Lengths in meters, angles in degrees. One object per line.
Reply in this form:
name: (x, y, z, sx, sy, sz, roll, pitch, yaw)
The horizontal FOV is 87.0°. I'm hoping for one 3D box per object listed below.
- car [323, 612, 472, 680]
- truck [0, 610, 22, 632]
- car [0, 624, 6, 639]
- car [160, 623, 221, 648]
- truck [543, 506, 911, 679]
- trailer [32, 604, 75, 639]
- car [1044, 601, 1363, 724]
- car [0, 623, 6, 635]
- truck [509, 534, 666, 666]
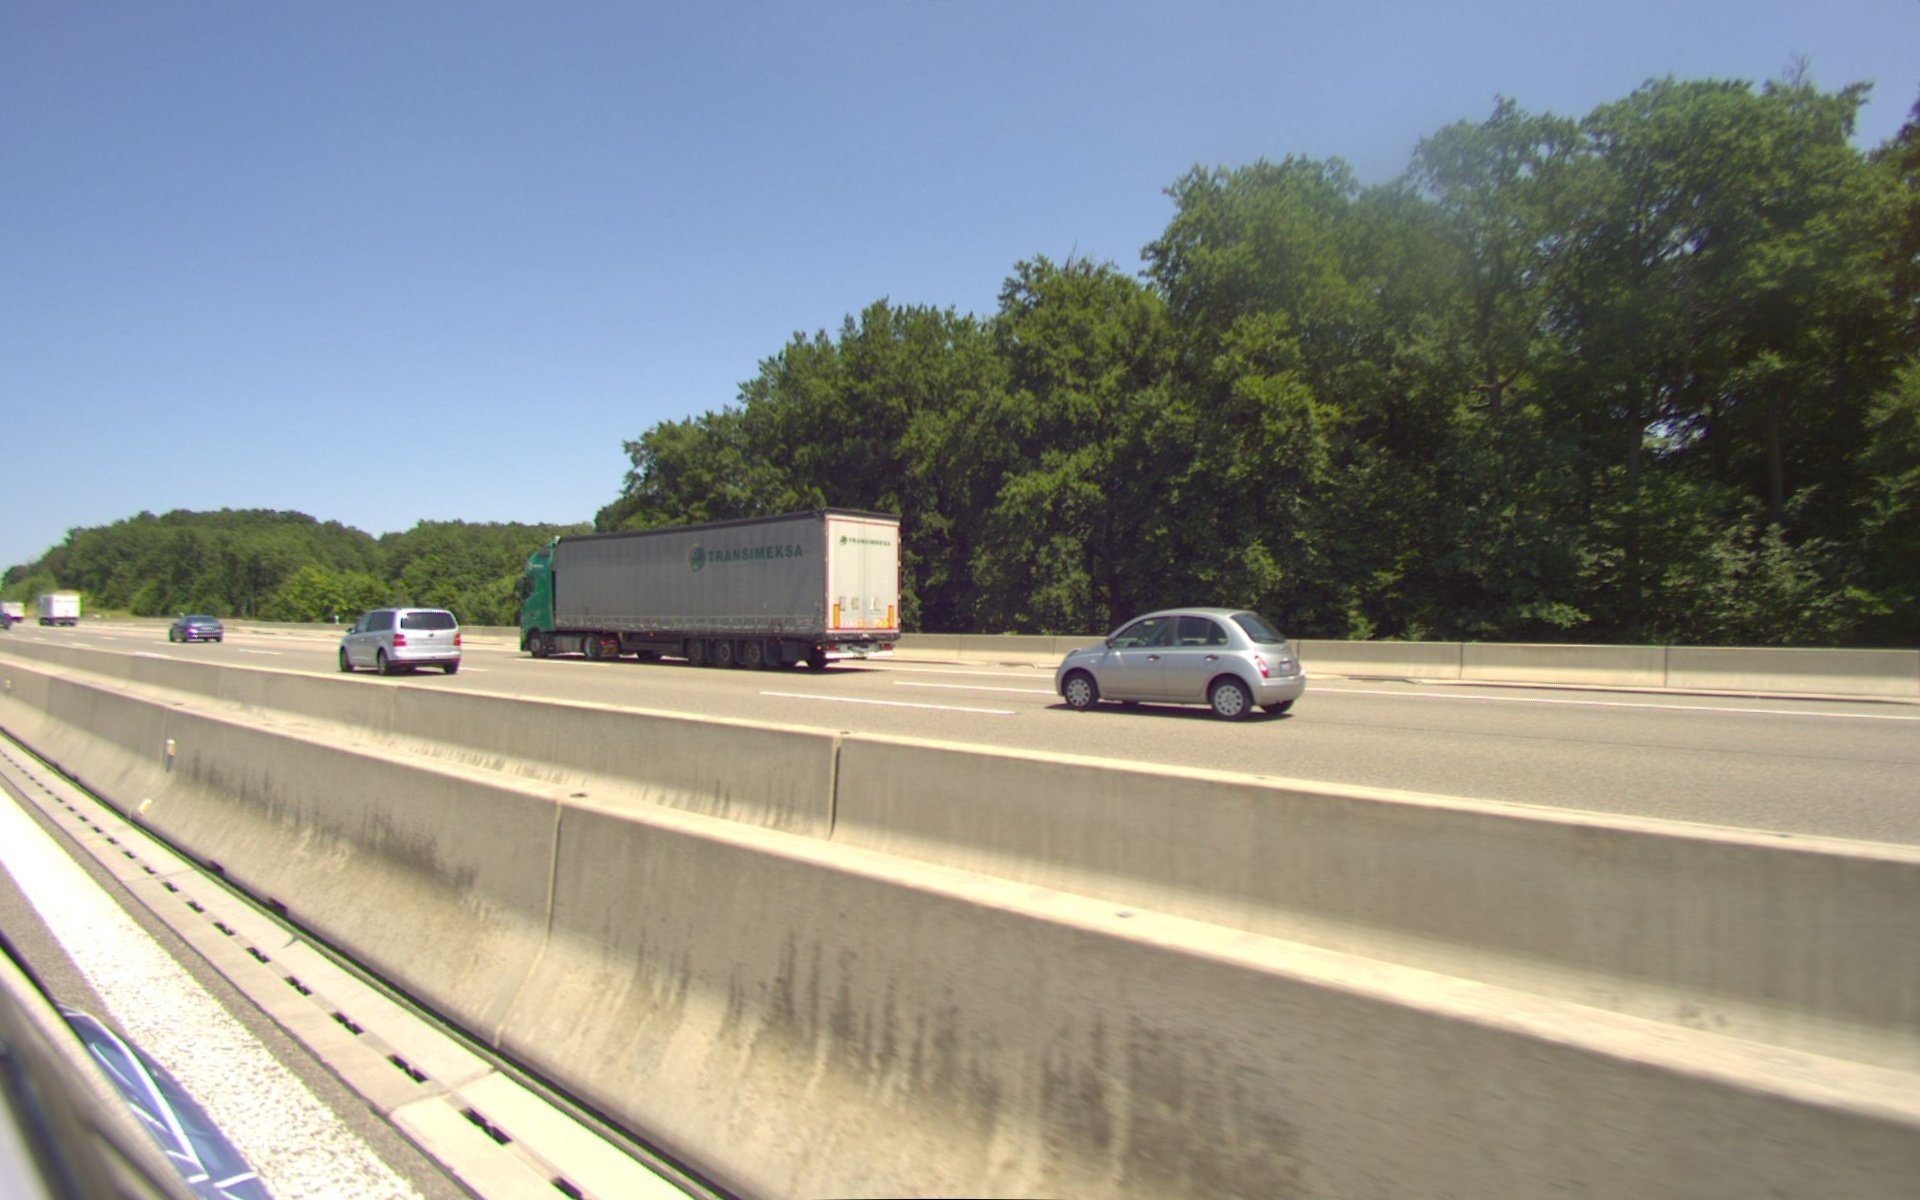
car: (-14.336, 1.107, 25.667, 4.774, 1.573, 1.812, -1, -1, 41)
truck: (-165.186, 3.716, 175.800, 8.574, 3.598, 2.512, -2, 0, 42)
car: (-96.696, 3.120, 101.030, 4.480, 1.489, 1.748, -1, -1, 42)
car: (-42.339, 1.913, 55.642, 4.727, 1.311, 1.812, -1, -1, 41)
truck: (-7.456, -0.033, 29.394, 14.293, 4.056, 2.662, -2, -1, 42)
trailer: (-115.286, 2.738, 128.596, 14.359, 4.257, 2.614, -2, -2, 42)
car: (3.446, 0.825, 14.761, 4.134, 1.546, 1.853, -1, -1, 41)
car: (-132.280, 3.985, 138.830, 5.078, 1.655, 1.778, -1, -1, 42)
truck: (-12.540, 0.059, 33.917, 5.508, 4.056, 2.630, -2, -1, 41)
